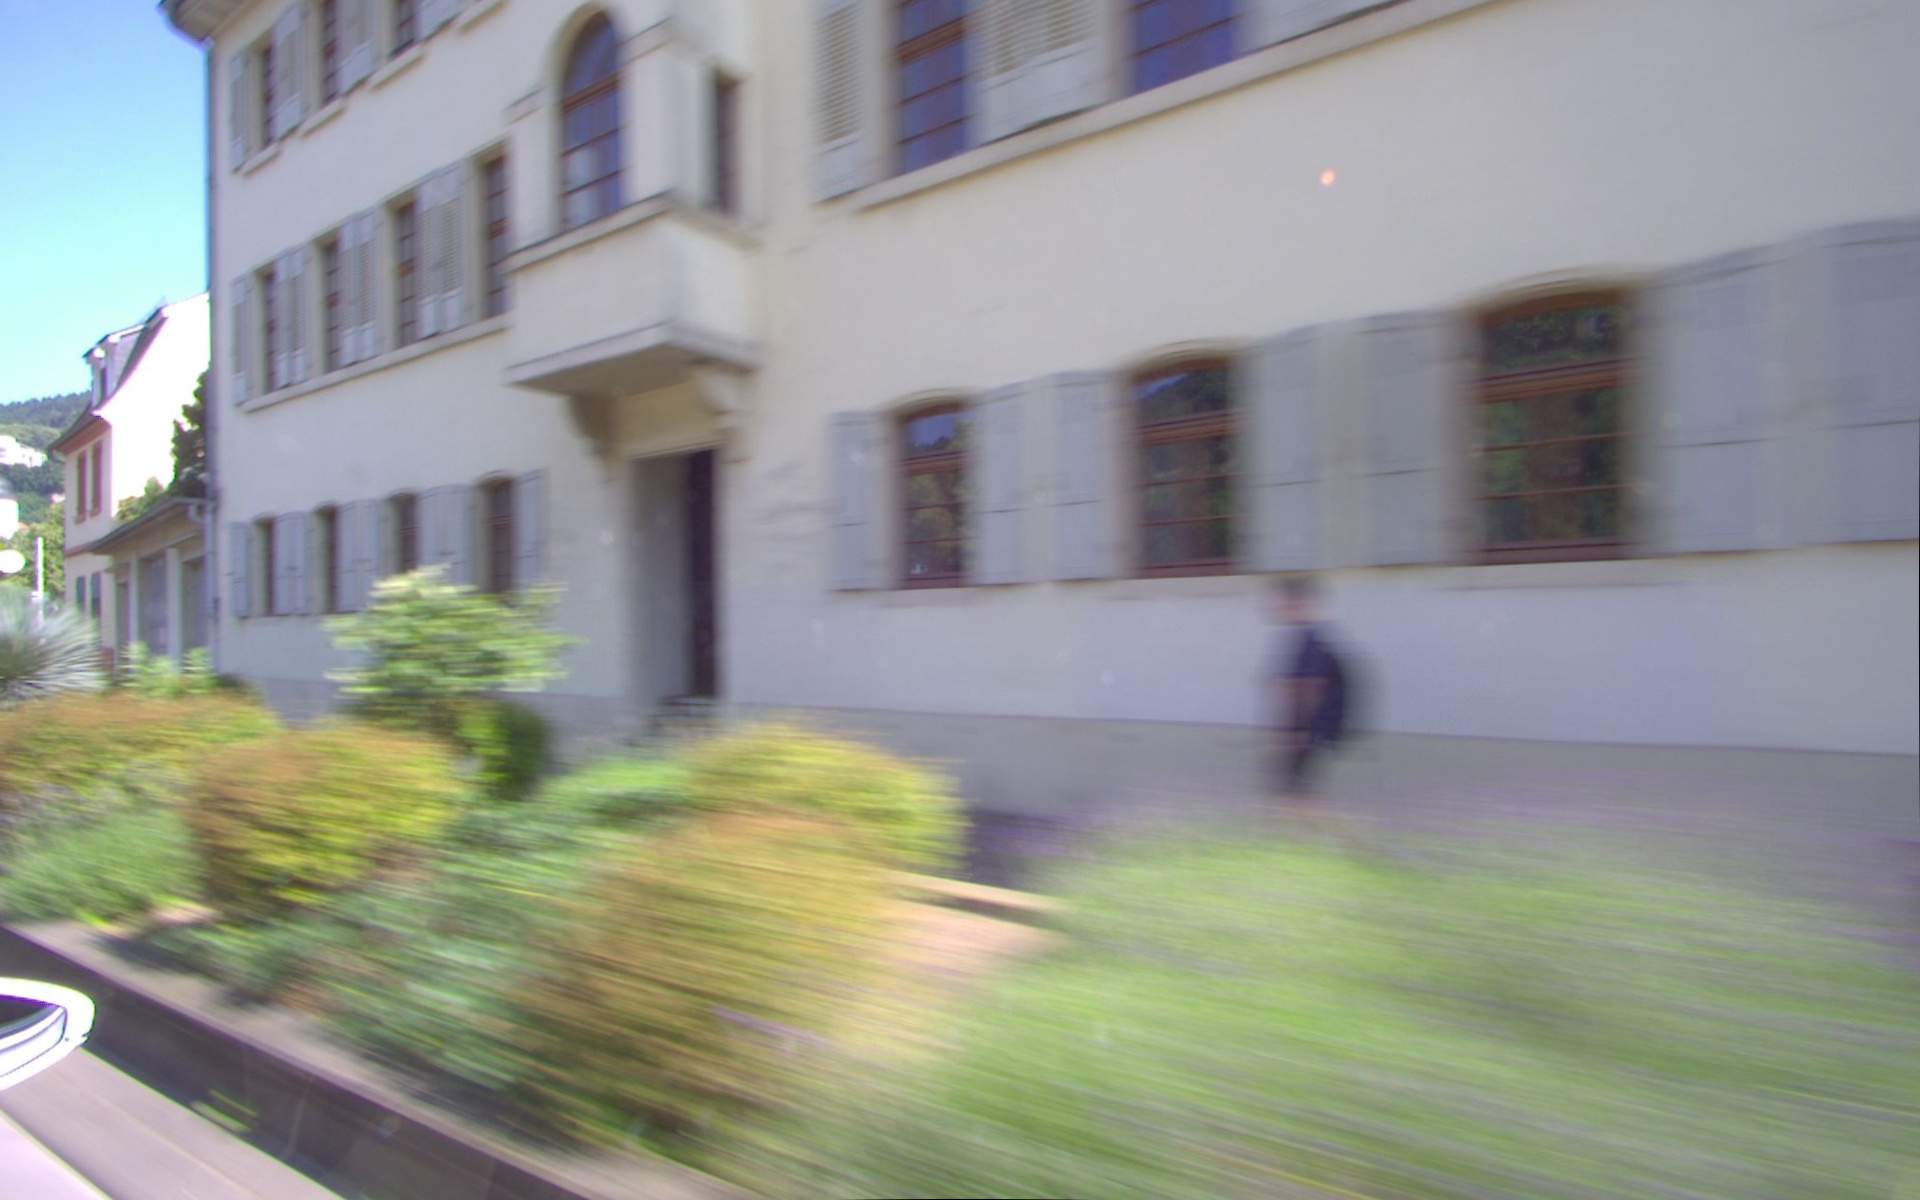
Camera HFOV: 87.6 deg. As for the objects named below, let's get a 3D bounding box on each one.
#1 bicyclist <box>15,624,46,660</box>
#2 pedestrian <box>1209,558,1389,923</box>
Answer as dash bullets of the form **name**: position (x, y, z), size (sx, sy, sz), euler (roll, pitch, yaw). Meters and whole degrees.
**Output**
- **bicyclist**: position (-41.749, 1.888, 44.991), size (1.074, 1.604, 0.765), euler (-1, -1, 32)
- **pedestrian**: position (1.789, 0.666, 5.245), size (0.686, 1.737, 0.759), euler (-1, 2, 33)
